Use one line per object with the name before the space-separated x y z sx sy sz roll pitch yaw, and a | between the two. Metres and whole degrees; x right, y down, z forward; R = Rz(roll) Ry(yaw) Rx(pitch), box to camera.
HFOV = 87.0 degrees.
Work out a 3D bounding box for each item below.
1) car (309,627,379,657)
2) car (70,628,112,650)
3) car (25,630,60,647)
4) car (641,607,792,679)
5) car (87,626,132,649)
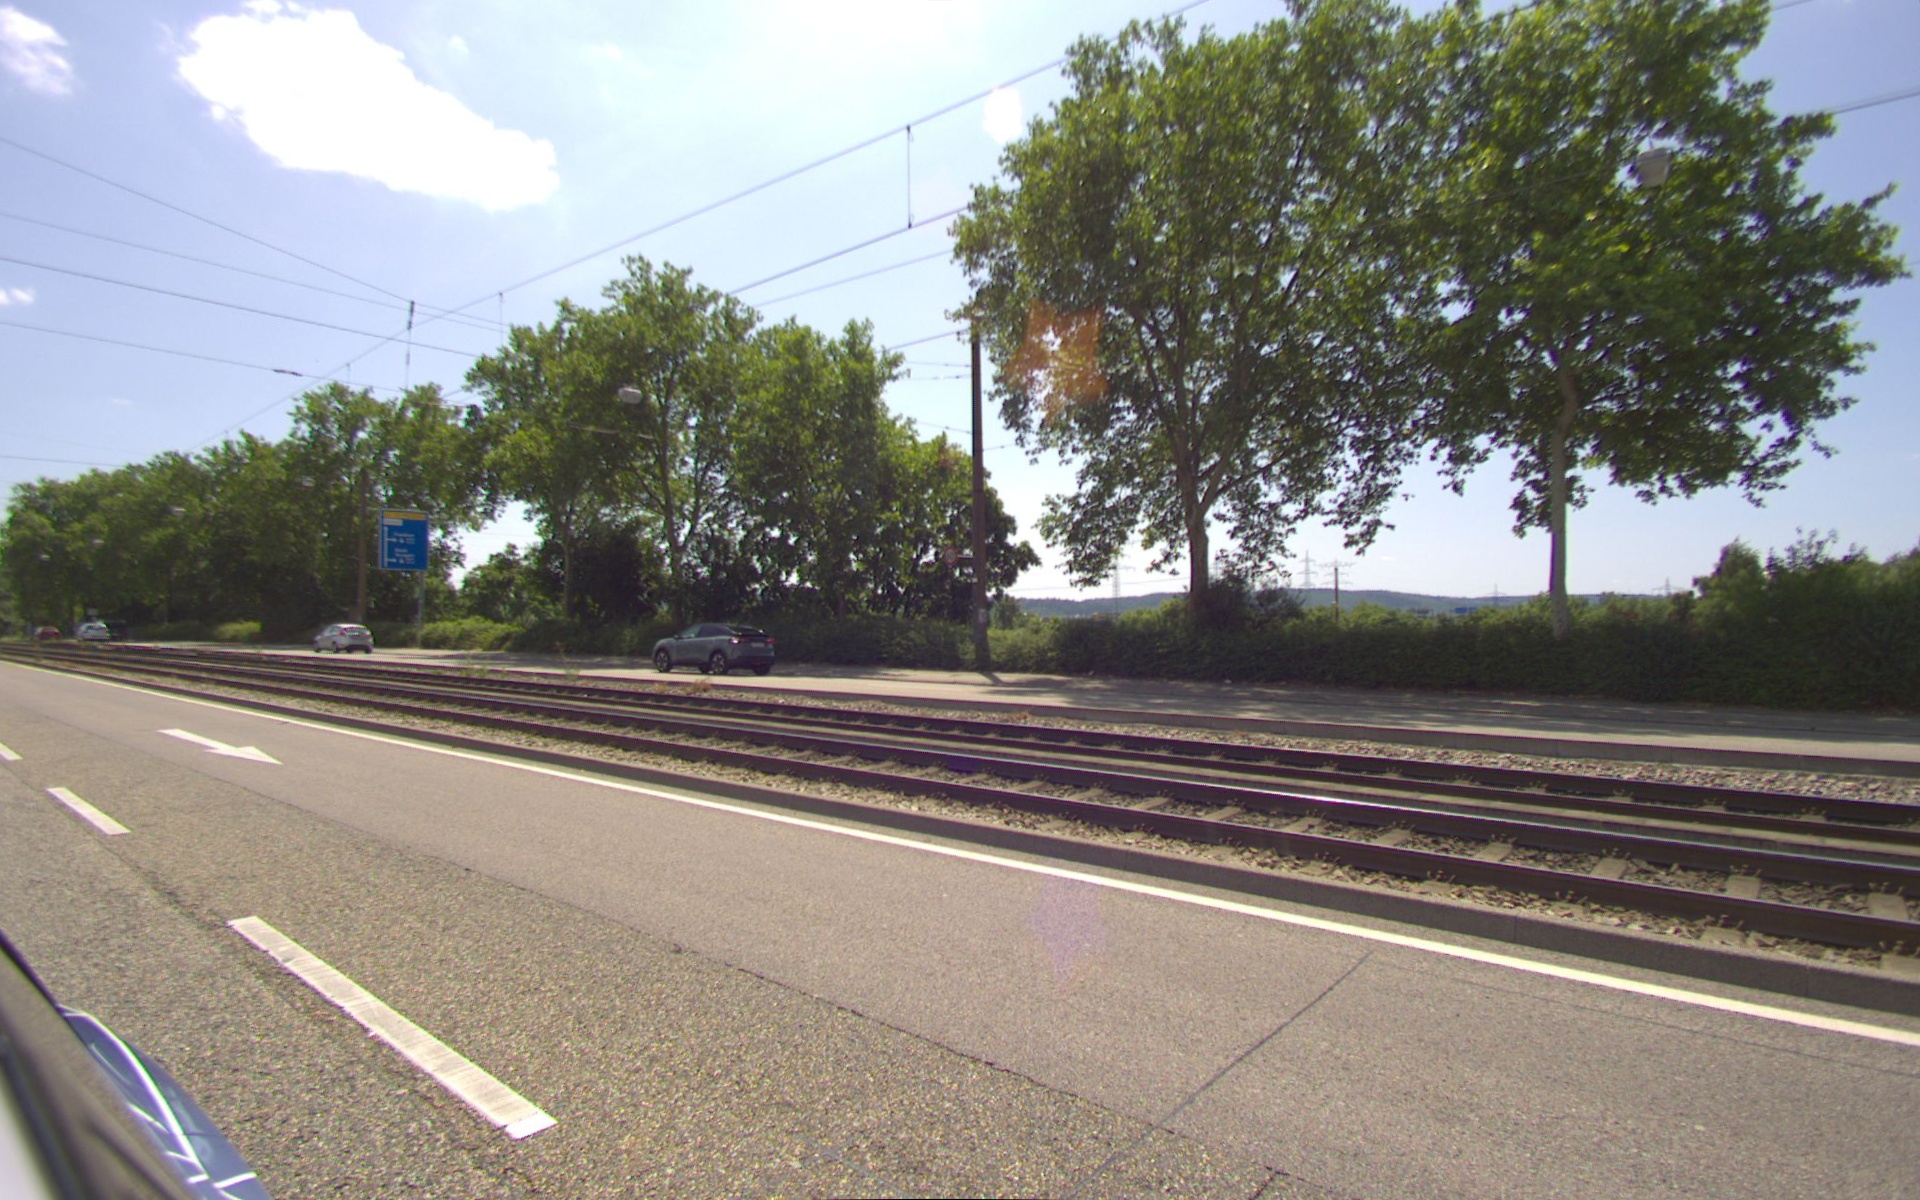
car | -30.816 2.106 50.627 3.881 1.427 1.803 -1 -4 40
car | -65.444 2.927 76.209 4.055 1.596 1.668 -2 -5 40
car | -96.365 4.038 106.262 4.463 1.683 1.974 -2 -4 39
car | -7.323 1.260 30.269 4.403 1.932 1.975 0 -4 37
car | -71.616 3.155 85.215 4.965 1.845 1.973 -2 -4 40
